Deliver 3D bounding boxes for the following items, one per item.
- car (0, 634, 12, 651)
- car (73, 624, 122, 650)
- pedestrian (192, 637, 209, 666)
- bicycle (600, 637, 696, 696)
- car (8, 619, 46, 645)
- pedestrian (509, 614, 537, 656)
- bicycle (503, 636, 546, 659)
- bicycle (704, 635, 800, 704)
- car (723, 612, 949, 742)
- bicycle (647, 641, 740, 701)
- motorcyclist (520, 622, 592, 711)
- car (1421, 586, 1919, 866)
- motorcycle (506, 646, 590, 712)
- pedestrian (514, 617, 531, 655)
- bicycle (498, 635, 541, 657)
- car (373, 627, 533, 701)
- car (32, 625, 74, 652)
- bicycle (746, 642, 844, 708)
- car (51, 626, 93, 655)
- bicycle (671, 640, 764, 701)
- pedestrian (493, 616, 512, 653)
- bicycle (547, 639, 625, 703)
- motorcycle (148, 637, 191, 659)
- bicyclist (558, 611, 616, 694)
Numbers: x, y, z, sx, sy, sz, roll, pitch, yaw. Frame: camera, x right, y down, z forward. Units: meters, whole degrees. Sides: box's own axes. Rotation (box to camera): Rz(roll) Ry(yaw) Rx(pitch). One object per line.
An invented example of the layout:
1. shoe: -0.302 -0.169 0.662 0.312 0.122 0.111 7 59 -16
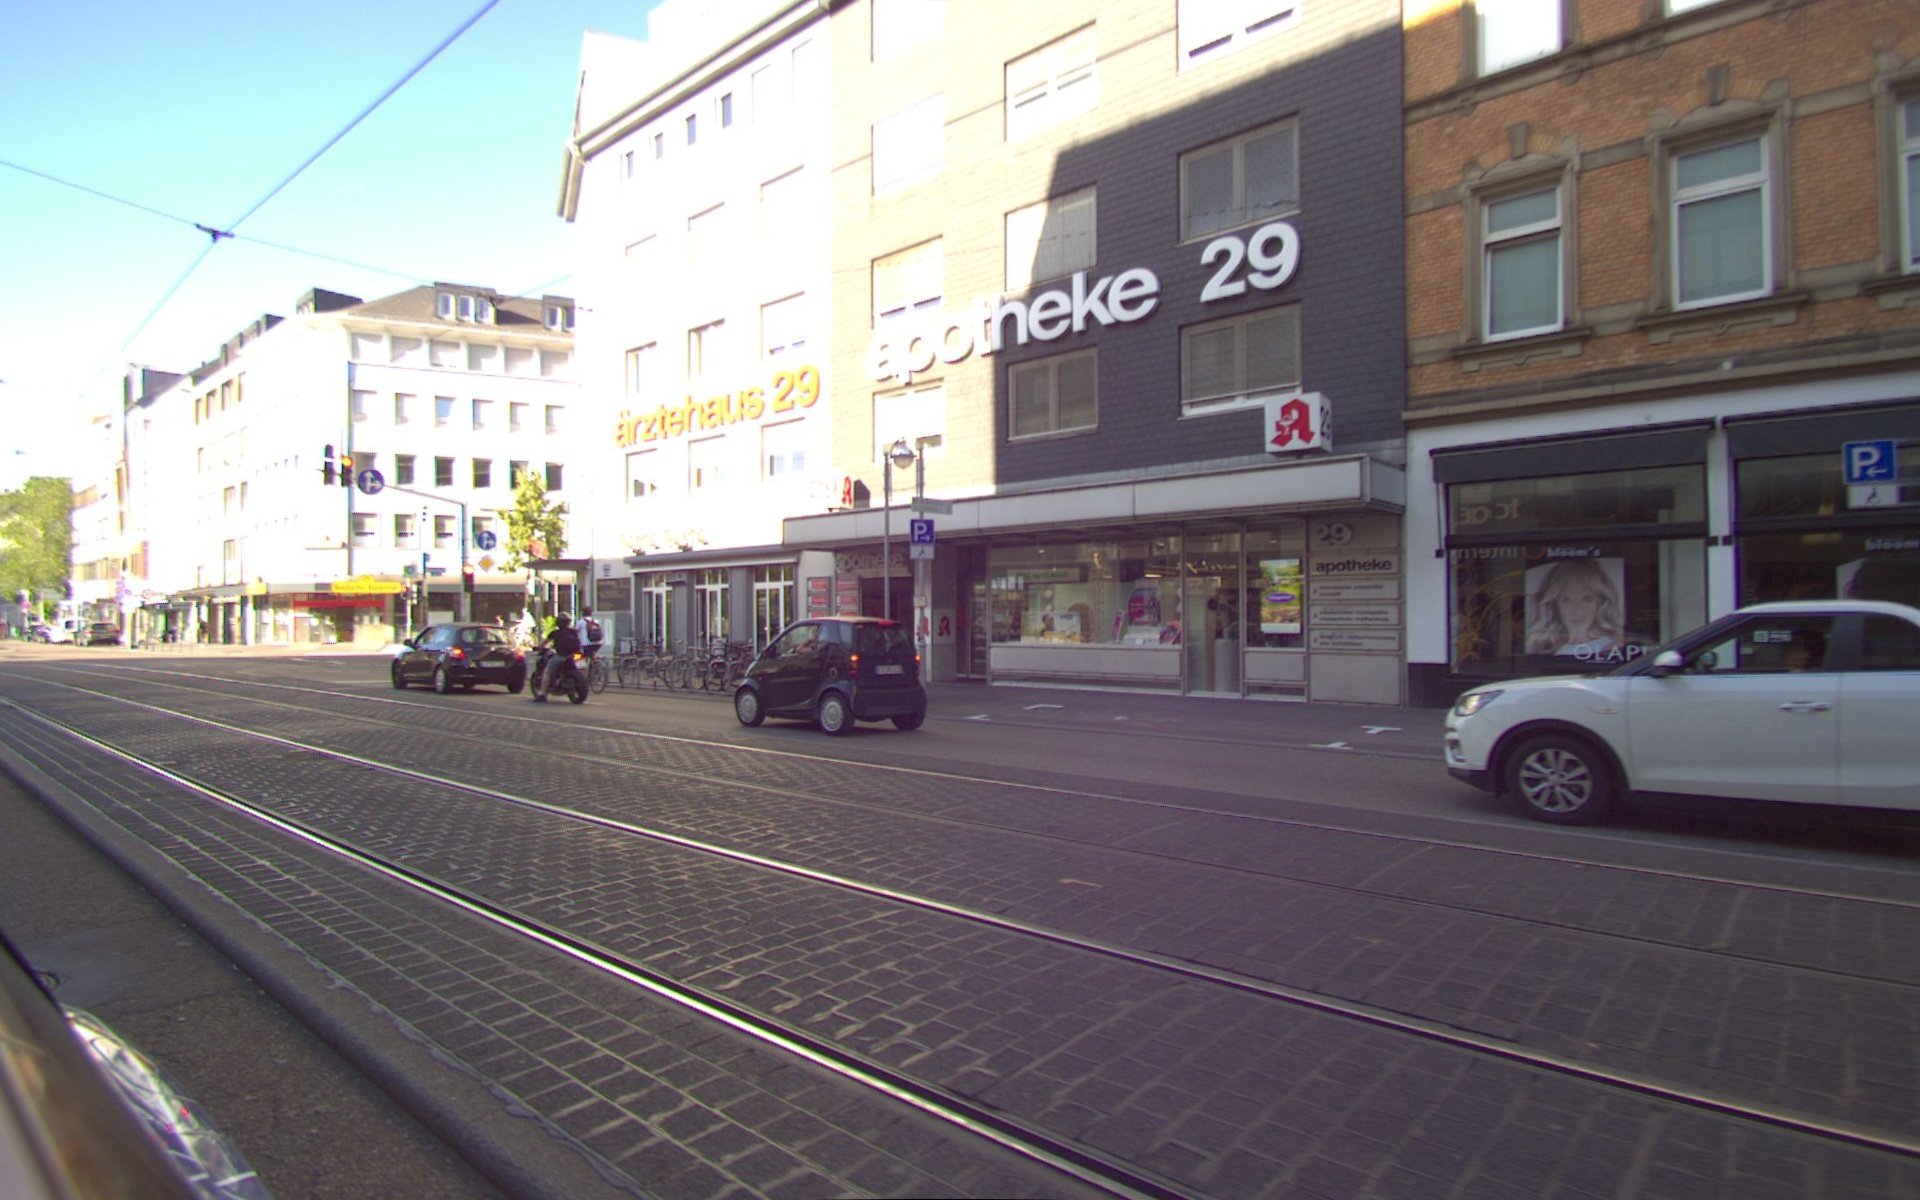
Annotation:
1. car: -106.291 4.633 110.497 1.999 1.811 3.944 -2 -2 42
2. car: -58.502 2.504 68.642 3.998 1.719 1.972 -2 -2 42
3. pedestrian: -45.031 3.034 59.993 0.700 1.722 0.562 0 -2 -27
4. bicycle: -7.262 1.520 23.648 0.772 1.233 2.084 -2 0 36
5. car: -78.019 2.679 84.631 3.998 2.029 1.972 -2 -2 42
6. pedestrian: -20.128 1.595 46.612 0.985 1.881 0.782 0 -4 -39
7. bicycle: -20.082 2.196 46.664 1.697 1.015 0.762 1 -5 -36
8. bicycle: -4.285 1.396 20.937 0.772 1.289 1.917 -2 0 36
9. car: -1.745 0.973 13.873 2.829 1.578 1.631 -2 -2 42
10. bicycle: -5.845 1.535 22.265 0.772 1.181 1.917 -2 0 36
11. motorcyclist: -7.386 1.187 18.492 1.146 1.570 0.794 -2 -3 42
12. car: 5.690 0.767 6.911 4.262 1.606 1.869 -2 -3 42
13. motorcycle: -7.632 1.430 18.681 2.116 1.128 0.564 -2 -3 42
14. pedestrian: -20.434 1.656 47.279 0.550 1.741 0.782 0 -1 -39
15. bicycle: -20.571 2.153 47.230 1.765 0.975 0.555 1 -2 -36
16. car: -11.089 1.361 22.004 4.137 1.457 1.695 -2 -4 42
17. car: -69.376 2.949 77.373 3.998 2.029 1.972 -2 -2 42
18. bicycle: -3.218 1.444 19.887 0.772 1.161 1.917 -2 -1 36
19. car: -64.891 2.957 73.896 4.844 2.029 1.971 -2 -2 45
20. bicycle: -5.182 1.485 21.721 0.772 1.201 1.917 -2 -2 36
21. pedestrian: -21.564 1.628 47.734 0.644 1.725 0.794 0 -1 -39
22. bicycle: -8.169 1.514 22.058 2.025 1.303 0.742 -2 -2 42
23. motorcycle: -55.660 3.365 71.294 0.999 1.517 2.226 -2 -2 38
24. bicyclist: -8.127 1.123 22.058 1.146 1.742 0.742 -2 -2 43
